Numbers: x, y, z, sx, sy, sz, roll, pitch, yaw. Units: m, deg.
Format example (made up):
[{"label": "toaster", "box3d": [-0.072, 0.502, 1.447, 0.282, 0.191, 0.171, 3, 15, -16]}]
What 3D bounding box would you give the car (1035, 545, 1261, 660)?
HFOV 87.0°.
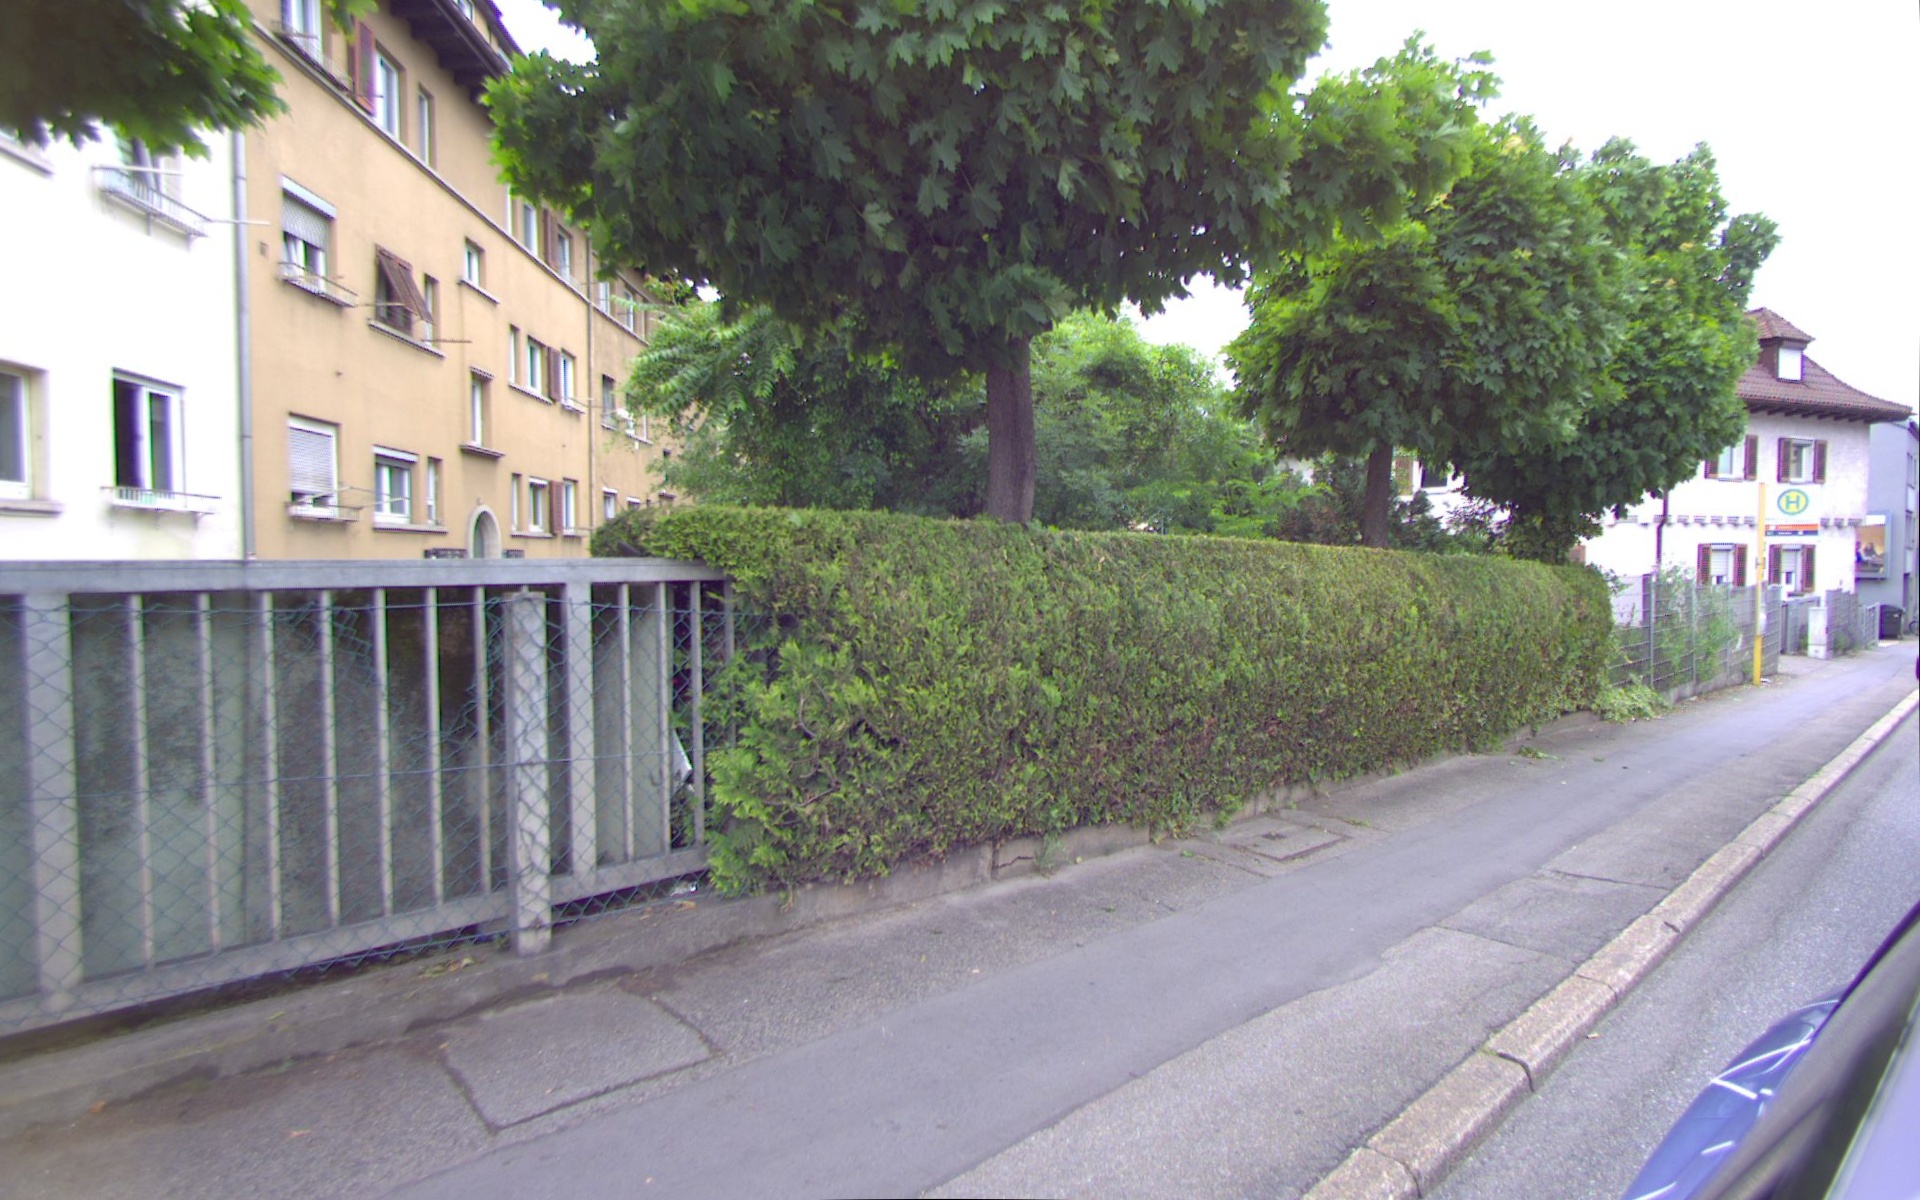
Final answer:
[{"label": "car", "box3d": [3.526, 0.028, 19.591, 3.923, 2.039, 2.001, 1, 1, -1]}]
